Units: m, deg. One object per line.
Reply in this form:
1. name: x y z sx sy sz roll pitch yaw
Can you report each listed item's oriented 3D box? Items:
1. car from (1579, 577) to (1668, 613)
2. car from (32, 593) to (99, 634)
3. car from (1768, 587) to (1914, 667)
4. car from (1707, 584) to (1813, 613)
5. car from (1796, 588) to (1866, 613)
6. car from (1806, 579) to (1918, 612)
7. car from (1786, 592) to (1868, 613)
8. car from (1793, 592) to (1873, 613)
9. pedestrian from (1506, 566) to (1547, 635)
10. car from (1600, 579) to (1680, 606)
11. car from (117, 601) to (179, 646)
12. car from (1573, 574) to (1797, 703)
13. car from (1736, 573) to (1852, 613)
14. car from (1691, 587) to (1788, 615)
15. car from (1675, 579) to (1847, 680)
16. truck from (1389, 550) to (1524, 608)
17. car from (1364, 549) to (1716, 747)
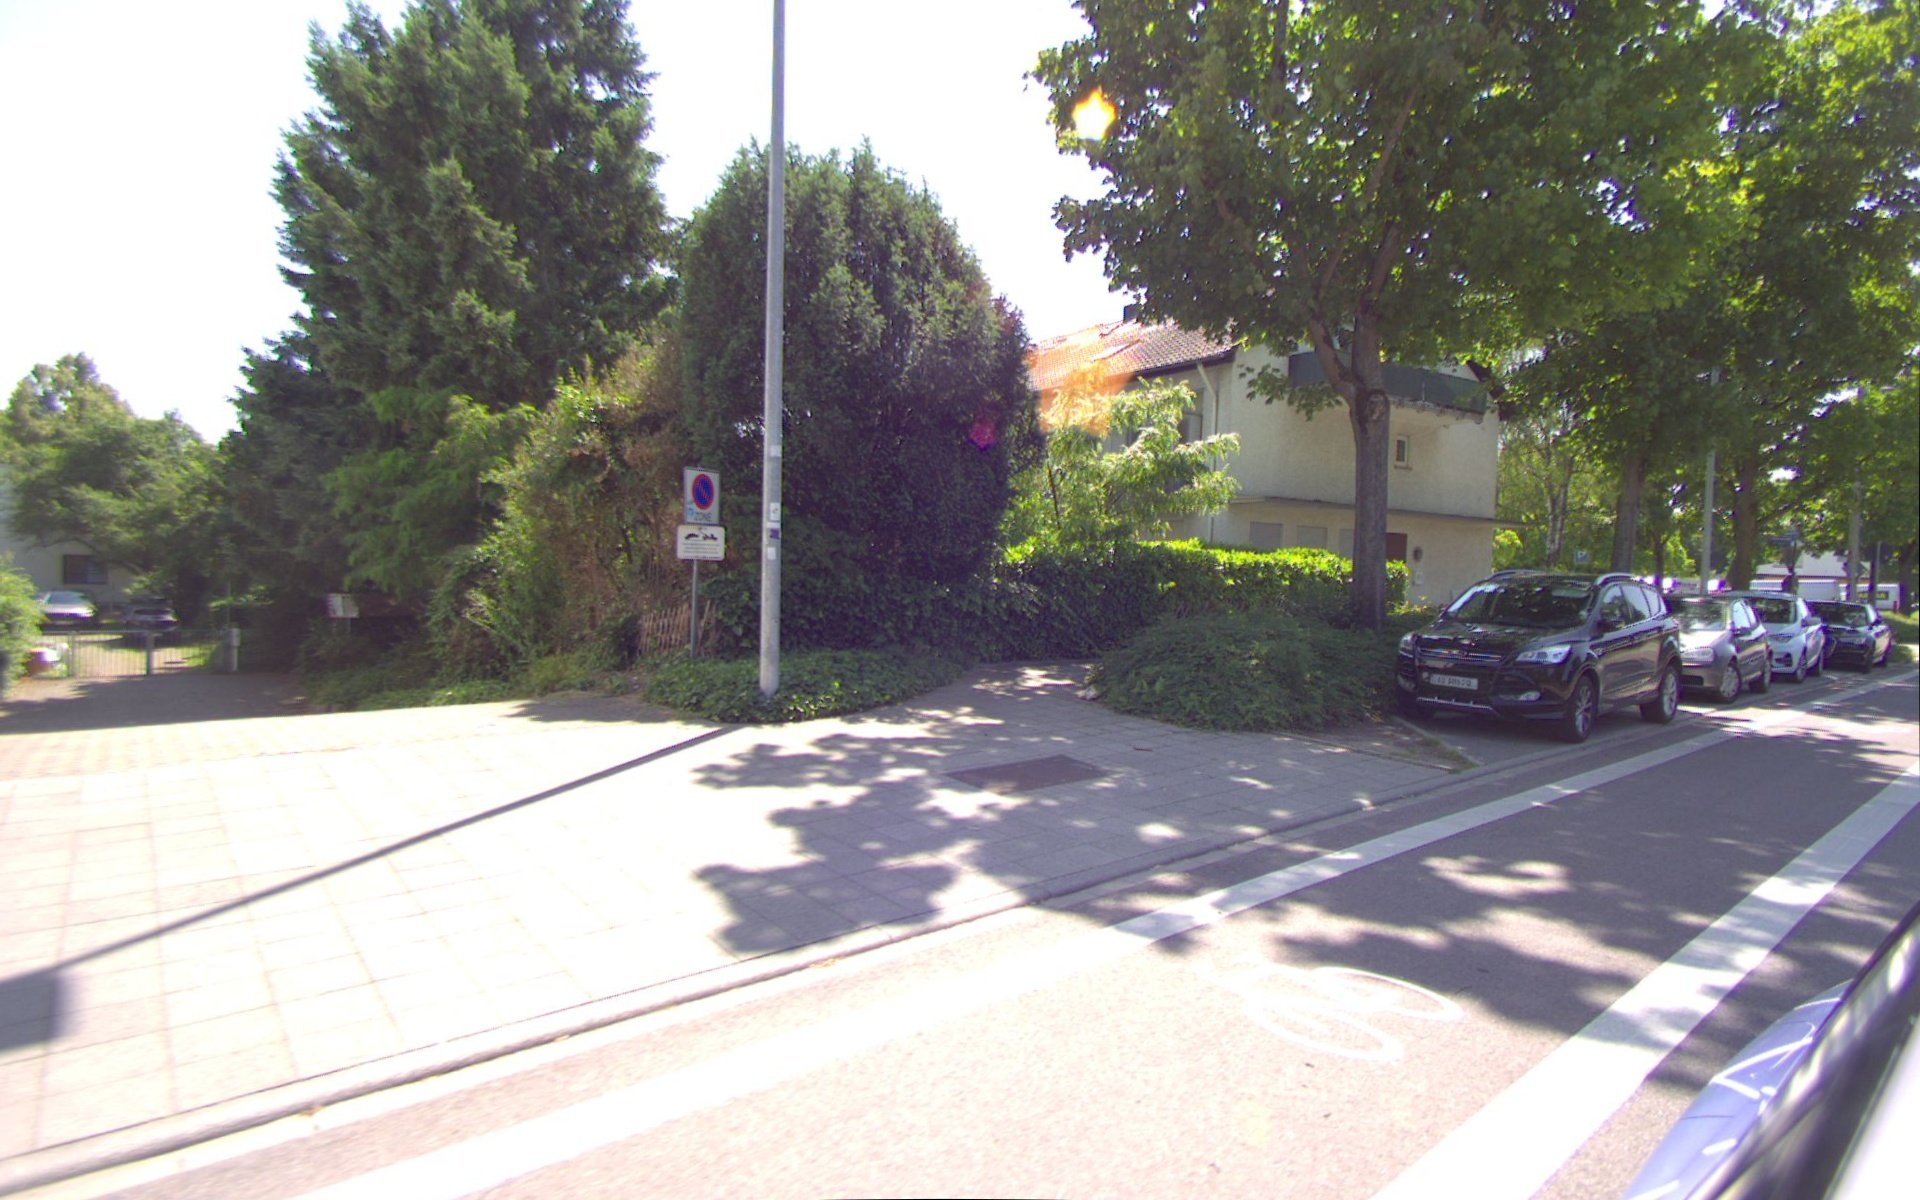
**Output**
1. car: 52.889 -0.430 80.782 2.057 2.489 5.506 1 4 -39
2. car: -35.517 0.498 40.270 1.767 1.571 3.996 0 0 -39
3. car: 19.650 0.542 22.502 4.742 1.453 1.844 0 5 -43
4. car: 47.696 -0.086 60.412 1.919 1.665 4.703 0 0 -39
5. car: 64.025 -0.001 74.427 1.922 1.806 3.782 0 0 -44
6. car: 72.084 -0.361 81.000 2.221 2.561 6.359 0 0 -37
7. car: 61.828 0.170 72.249 1.698 1.423 4.282 0 0 -42
8. car: 65.776 0.173 76.303 1.921 1.524 4.411 0 0 -43
9. pedestrian: 14.572 0.005 26.019 0.747 1.743 0.623 2 1 44
10. car: 56.491 -0.621 84.168 2.057 1.898 5.111 1 4 -39
11. car: -30.516 0.823 38.084 1.728 1.571 3.996 0 0 -39
12. car: 11.001 0.483 15.242 4.280 1.547 1.844 0 5 -43
13. car: 53.680 -0.478 65.259 2.057 2.490 5.503 0 0 -39
14. car: 43.647 0.034 56.724 1.739 1.509 4.027 0 0 -41
15. car: 15.075 0.481 18.964 4.135 1.547 1.844 0 5 -43
16. truck: 30.408 -1.324 62.294 2.382 3.122 6.964 0 4 -40
17. car: 6.680 0.424 11.445 4.542 1.726 1.846 1 4 -39
